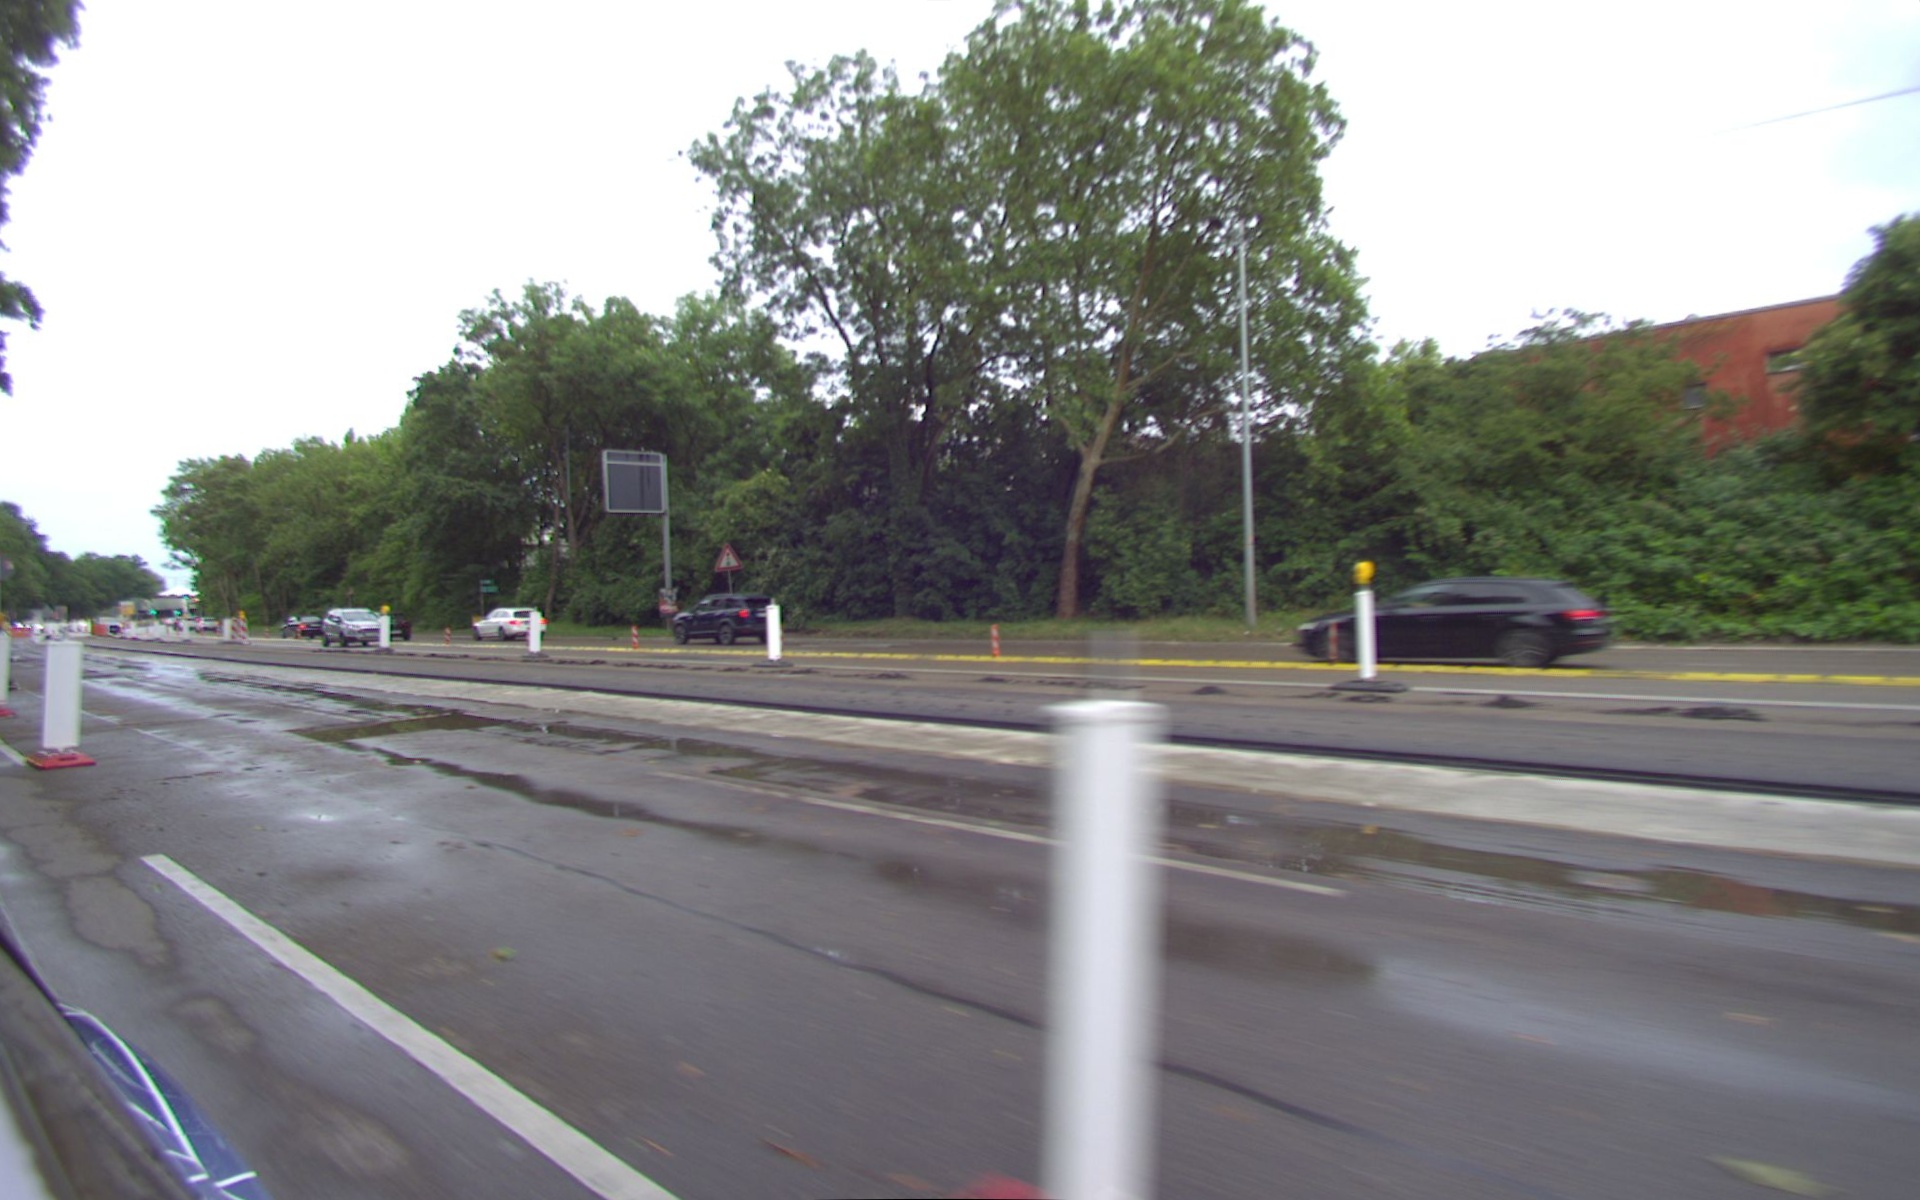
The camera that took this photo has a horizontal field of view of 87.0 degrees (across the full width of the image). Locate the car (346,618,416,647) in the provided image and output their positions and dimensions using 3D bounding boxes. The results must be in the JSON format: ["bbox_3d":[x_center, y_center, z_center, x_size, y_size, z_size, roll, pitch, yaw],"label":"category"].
[{"bbox_3d":[-28.948,1.614,50.530,4.203,1.366,1.799,-2,-2,41],"label":"car"}]

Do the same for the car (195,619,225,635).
[{"bbox_3d":[-75.471,2.731,101.834,4.158,1.553,1.648,-2,-3,43],"label":"car"}]

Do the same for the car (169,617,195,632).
[{"bbox_3d":[-93.583,2.964,121.685,4.379,1.764,1.758,-2,-1,42],"label":"car"}]

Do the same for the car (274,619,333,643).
[{"bbox_3d":[-38.851,1.840,59.862,4.388,1.366,1.799,-2,-2,41],"label":"car"}]

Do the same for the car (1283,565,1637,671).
[{"bbox_3d":[7.991,0.293,16.506,4.897,1.495,1.742,-2,0,41],"label":"car"}]

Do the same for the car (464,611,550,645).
[{"bbox_3d":[-20.594,1.273,45.917,4.601,1.430,1.799,-2,0,42],"label":"car"}]

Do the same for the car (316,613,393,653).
[{"bbox_3d":[-25.781,1.386,43.064,3.861,1.596,1.770,-2,0,43],"label":"car"}]

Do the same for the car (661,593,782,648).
[{"bbox_3d":[-8.083,0.709,34.073,4.531,1.698,1.636,-2,0,42],"label":"car"}]

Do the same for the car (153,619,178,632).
[{"bbox_3d":[-102.931,3.353,131.035,4.915,1.676,1.757,-2,-2,42],"label":"car"}]
